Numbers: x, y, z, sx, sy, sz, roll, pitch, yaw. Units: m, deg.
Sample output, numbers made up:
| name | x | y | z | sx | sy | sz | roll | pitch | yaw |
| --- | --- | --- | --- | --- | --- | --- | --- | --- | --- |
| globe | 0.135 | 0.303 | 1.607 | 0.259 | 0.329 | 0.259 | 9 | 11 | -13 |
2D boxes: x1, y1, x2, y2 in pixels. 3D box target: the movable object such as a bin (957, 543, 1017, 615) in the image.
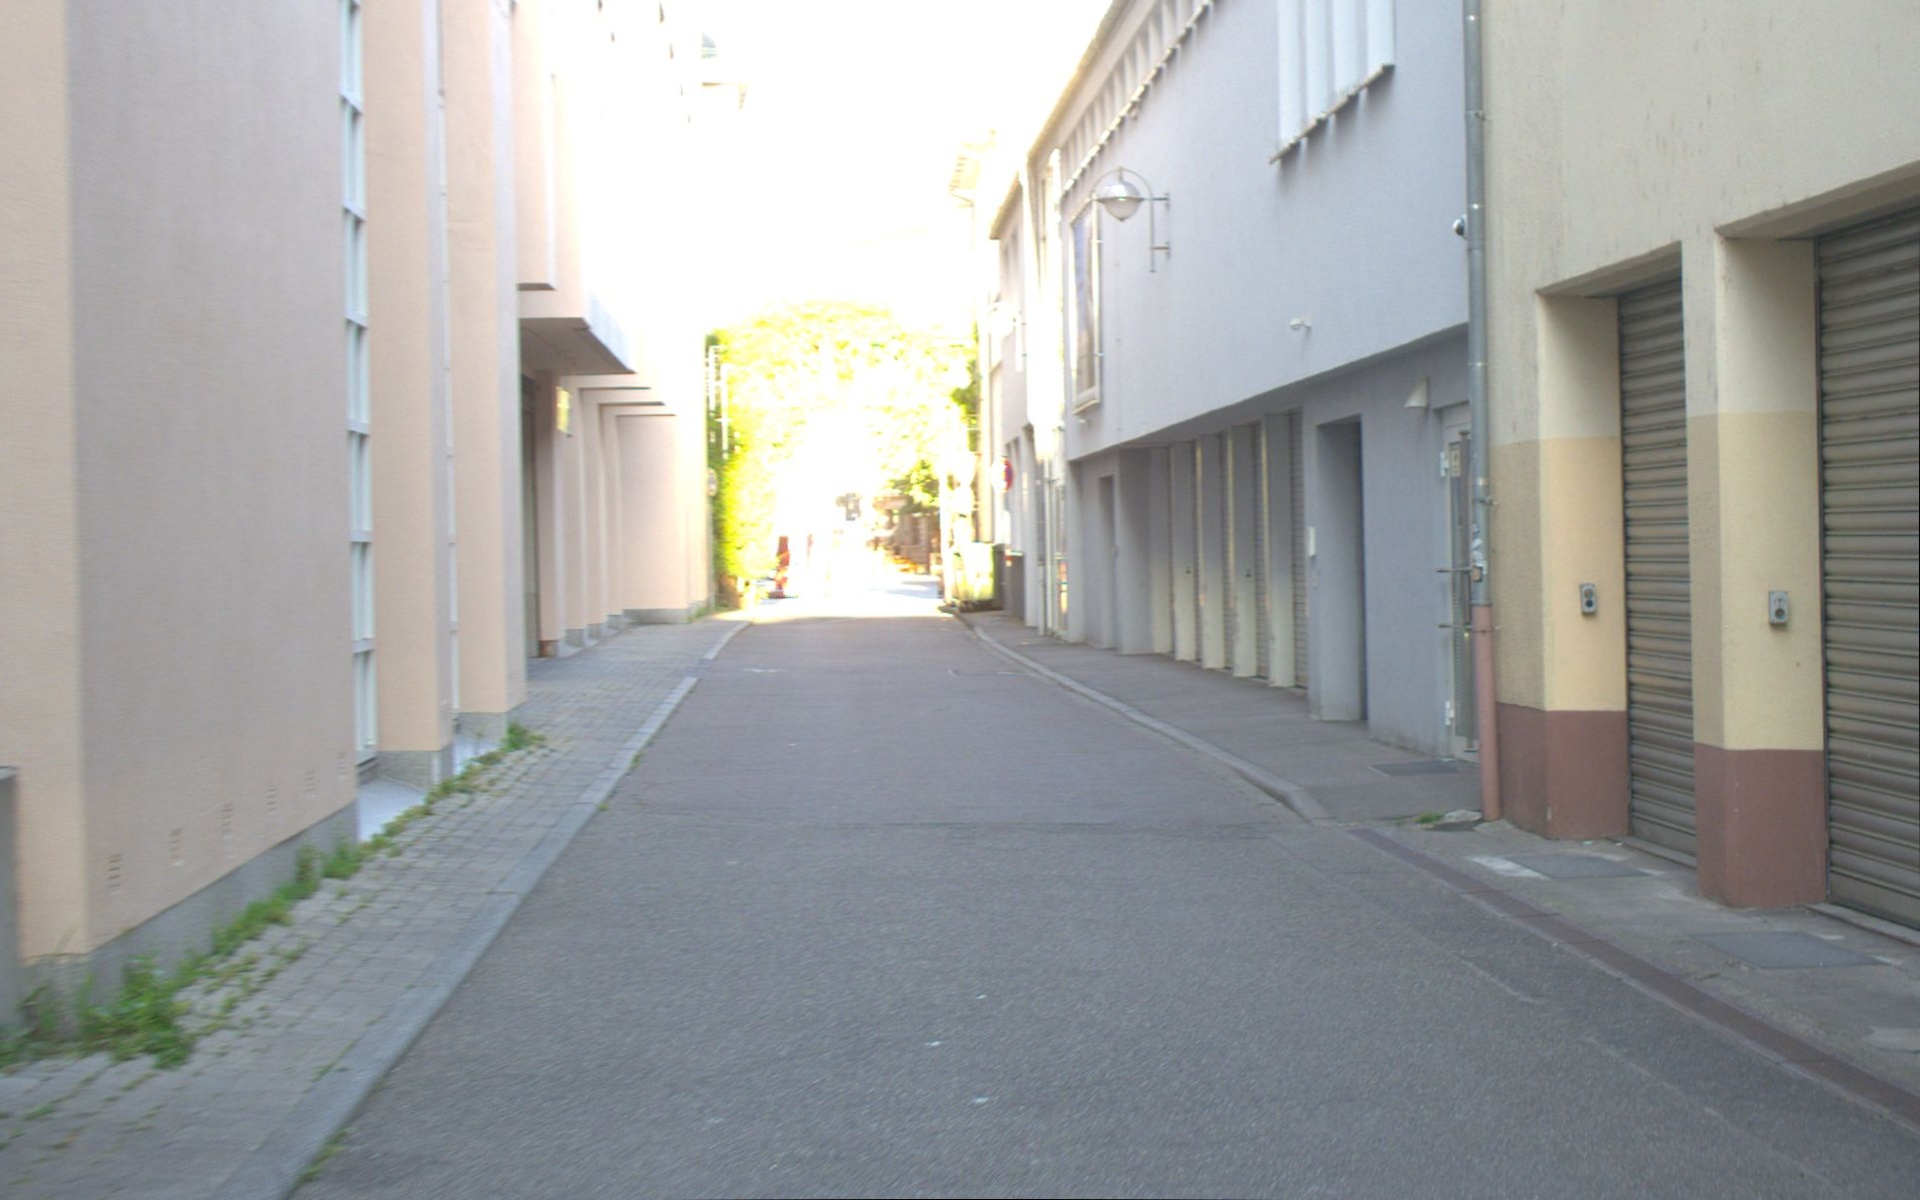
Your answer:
| name | x | y | z | sx | sy | sz | roll | pitch | yaw |
| --- | --- | --- | --- | --- | --- | --- | --- | --- | --- |
| movable object such as a bin | 0.530 | -0.415 | 68.087 | 0.937 | 1.362 | 1.342 | -3 | 1 | -8 |

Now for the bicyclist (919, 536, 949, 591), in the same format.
| name | x | y | z | sx | sy | sz | roll | pitch | yaw |
| --- | --- | --- | --- | --- | --- | --- | --- | --- | --- |
| bicyclist | -0.748 | -1.039 | 98.035 | 0.773 | 1.560 | 0.693 | 1 | 1 | -5 |

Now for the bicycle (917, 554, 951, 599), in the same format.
| name | x | y | z | sx | sy | sz | roll | pitch | yaw |
| --- | --- | --- | --- | --- | --- | --- | --- | --- | --- |
| bicycle | -0.754 | -0.677 | 98.040 | 0.773 | 1.257 | 2.218 | 1 | 1 | -5 |
